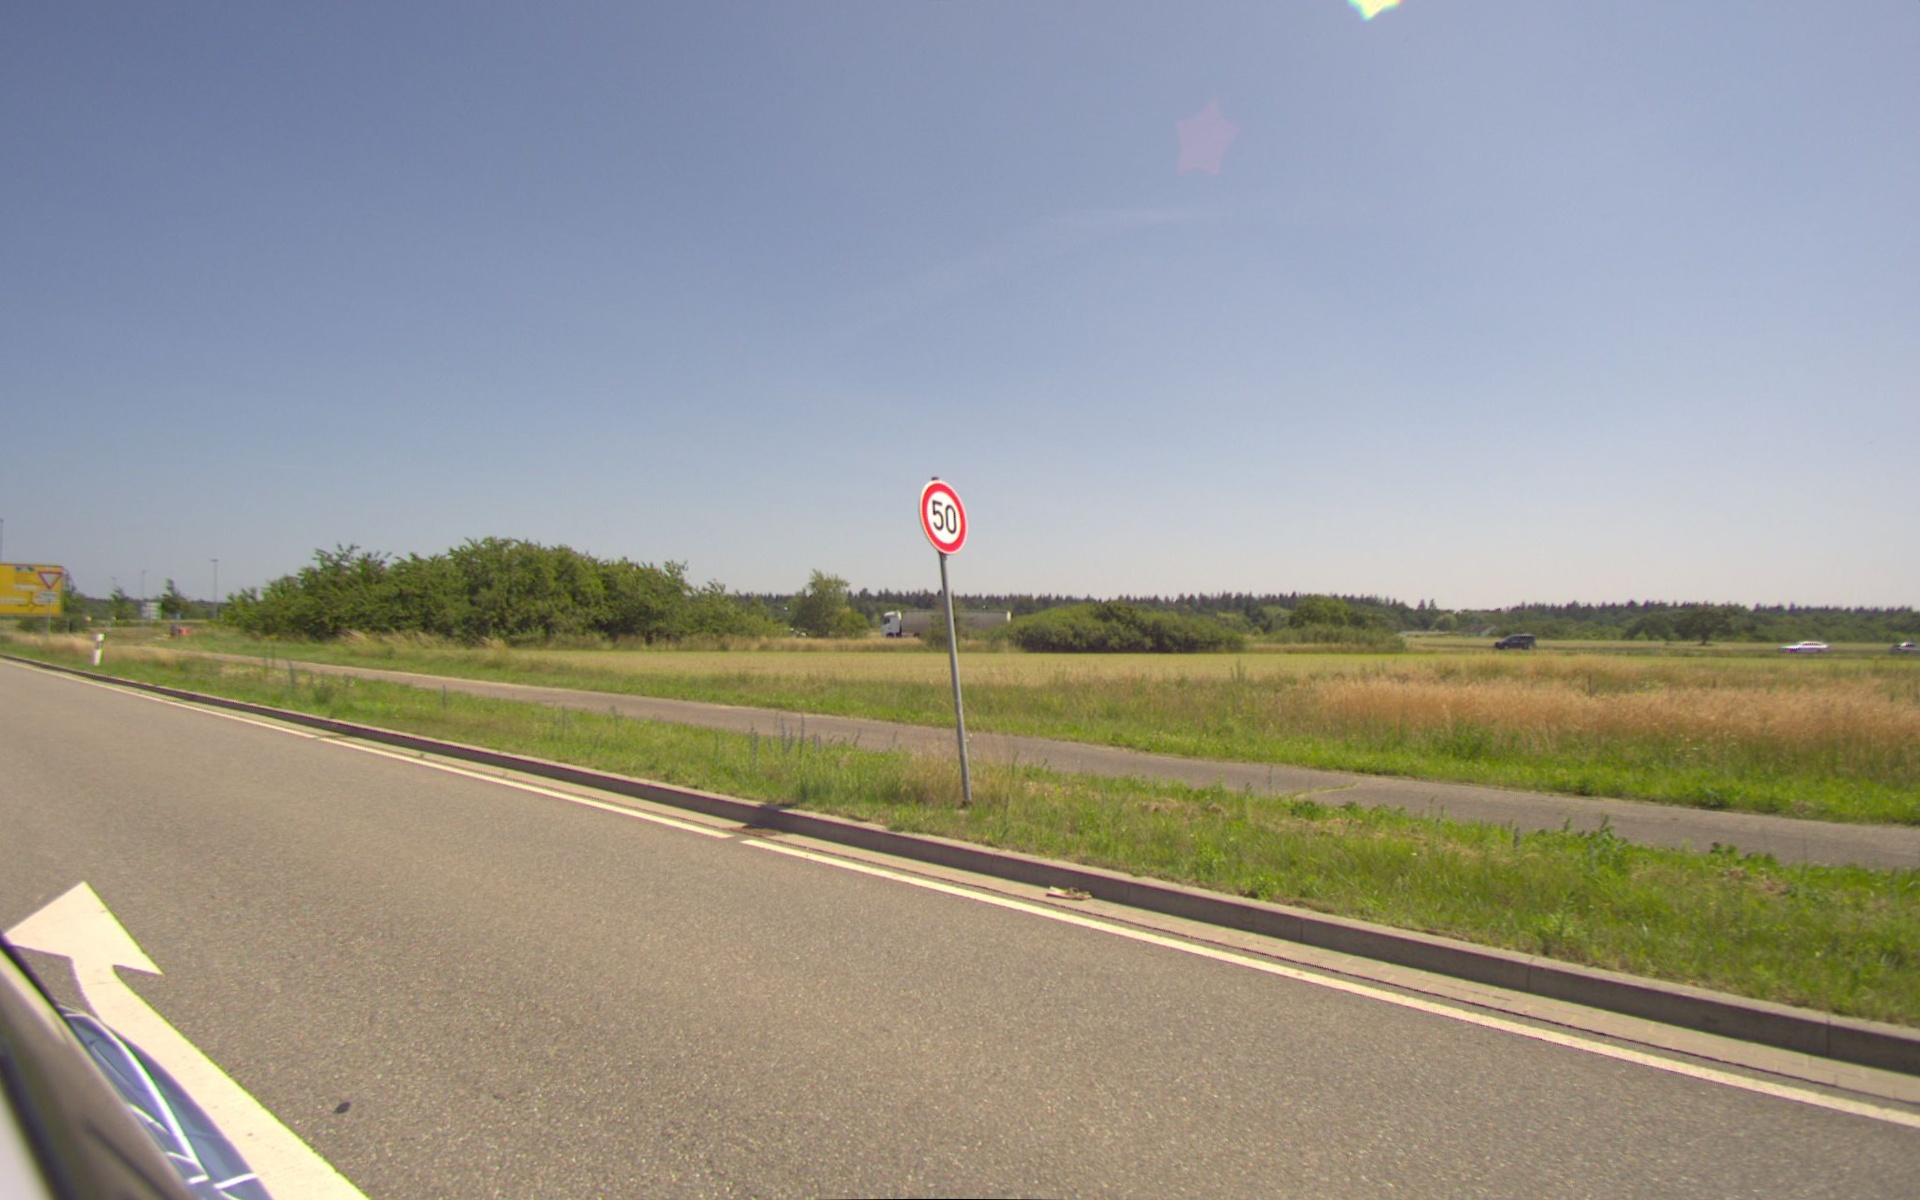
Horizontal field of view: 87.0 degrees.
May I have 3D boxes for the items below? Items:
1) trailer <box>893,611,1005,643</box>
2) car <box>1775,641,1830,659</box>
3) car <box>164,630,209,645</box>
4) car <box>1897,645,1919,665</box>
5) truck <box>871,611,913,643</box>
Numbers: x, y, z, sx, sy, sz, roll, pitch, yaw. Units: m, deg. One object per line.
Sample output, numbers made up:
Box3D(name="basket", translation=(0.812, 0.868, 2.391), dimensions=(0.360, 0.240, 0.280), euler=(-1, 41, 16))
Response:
Box3D(name="trailer", translation=(-1.390, 3.395, 127.064), dimensions=(13.737, 3.964, 2.633), euler=(0, -2, 12))
Box3D(name="car", translation=(93.986, 5.564, 112.903), dimensions=(4.185, 2.029, 1.993), euler=(0, -2, 11))
Box3D(name="car", translation=(-80.057, 3.878, 104.781), dimensions=(1.638, 1.444, 3.733), euler=(1, -3, 2))
Box3D(name="car", translation=(102.465, 5.846, 107.223), dimensions=(4.179, 2.029, 1.996), euler=(0, -2, 7))
Box3D(name="truck", translation=(-8.658, 3.405, 128.683), dimensions=(4.729, 3.964, 2.633), euler=(0, -2, 12))
